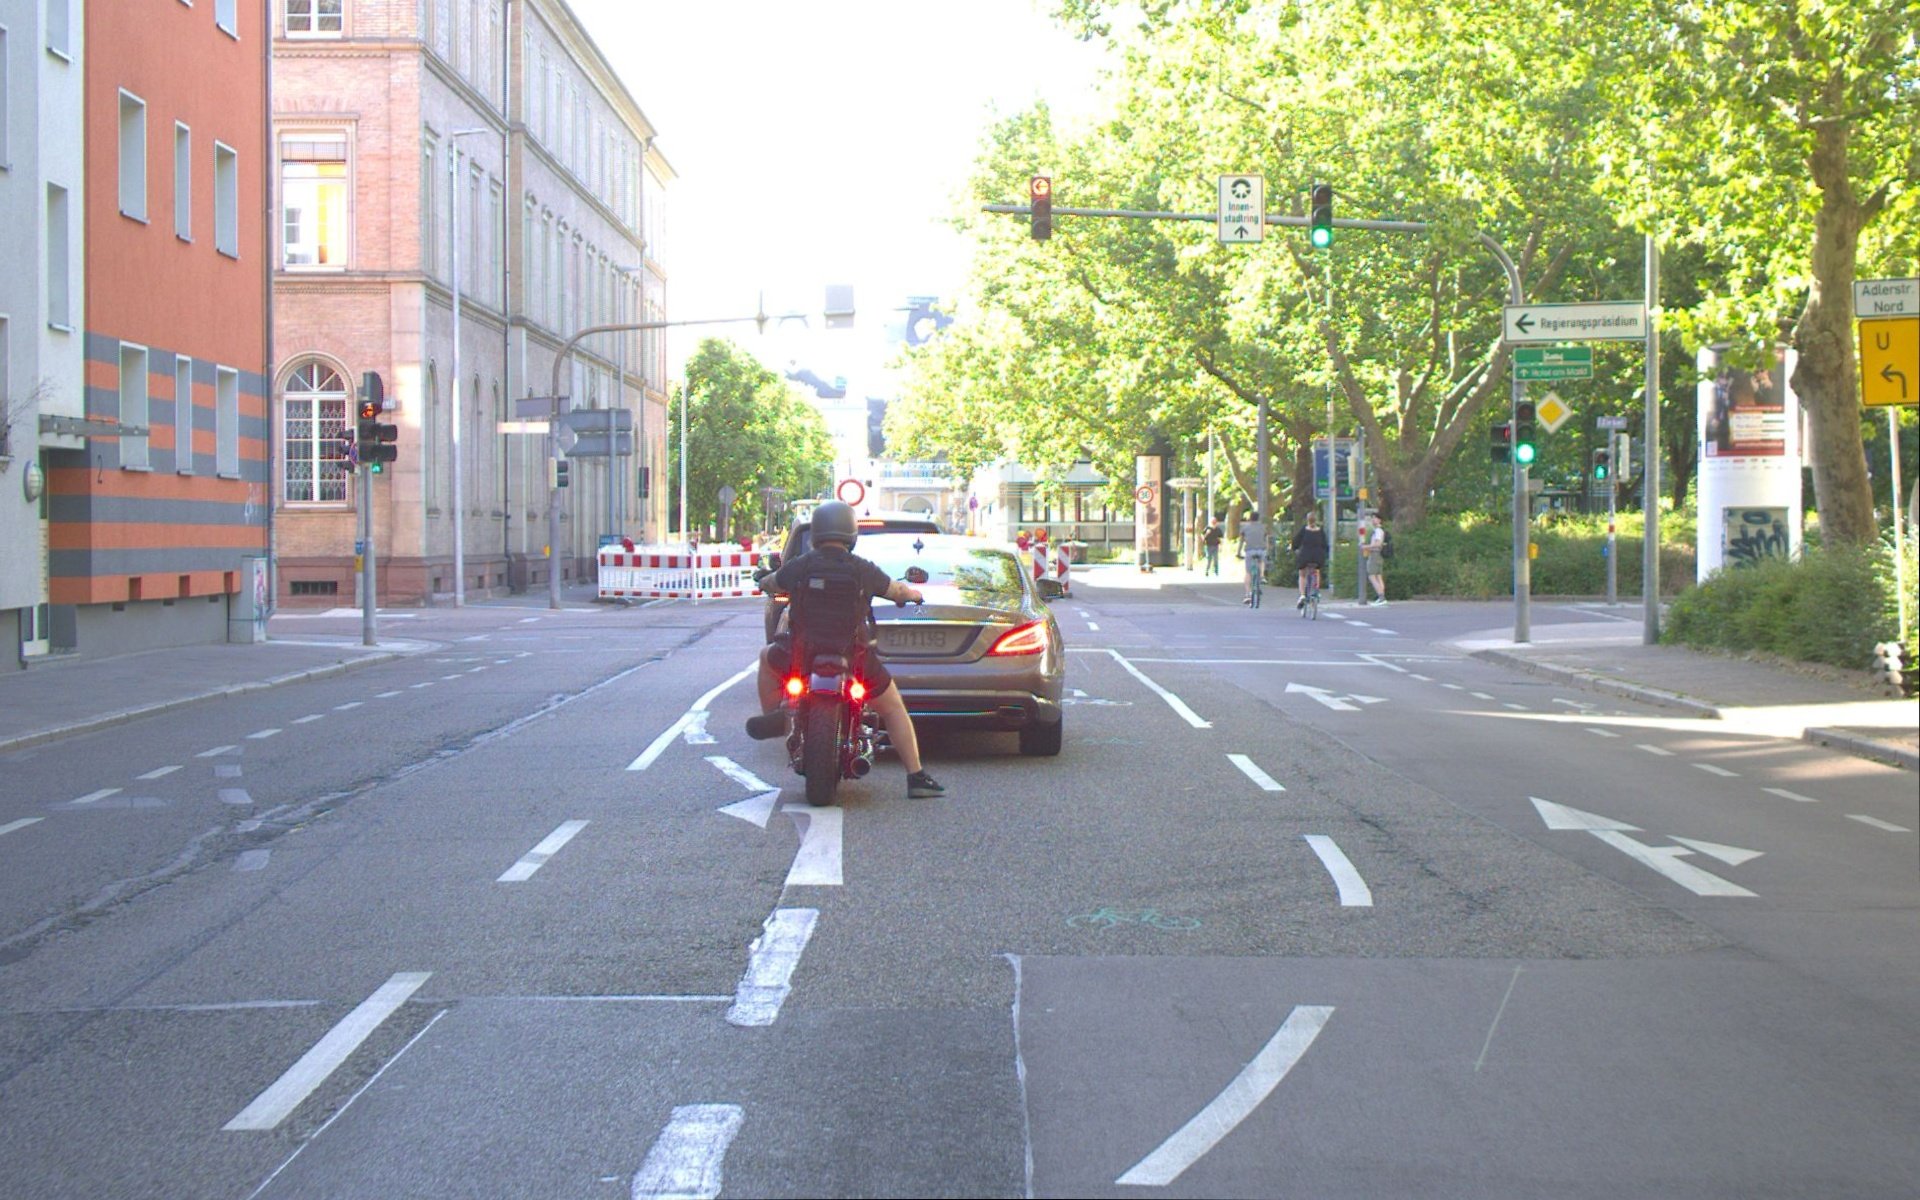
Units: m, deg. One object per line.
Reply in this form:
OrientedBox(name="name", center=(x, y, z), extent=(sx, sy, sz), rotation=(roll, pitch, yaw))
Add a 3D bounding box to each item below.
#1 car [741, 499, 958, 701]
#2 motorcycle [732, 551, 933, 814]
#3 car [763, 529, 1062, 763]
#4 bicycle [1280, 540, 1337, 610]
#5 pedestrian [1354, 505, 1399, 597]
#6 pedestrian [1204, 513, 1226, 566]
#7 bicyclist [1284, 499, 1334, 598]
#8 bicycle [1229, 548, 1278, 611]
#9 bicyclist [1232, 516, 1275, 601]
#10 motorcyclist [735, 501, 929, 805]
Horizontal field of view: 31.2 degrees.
OrientedBox(name="car", center=(-1.039, -0.034, 30.525), extent=(1.630, 1.645, 3.851), rotation=(1, 1, -6))
OrientedBox(name="motorcycle", center=(-0.668, 0.401, 18.837), extent=(1.012, 1.302, 2.673), rotation=(0, 1, -1))
OrientedBox(name="car", center=(-0.318, 0.244, 22.968), extent=(1.828, 1.415, 3.815), rotation=(0, 1, -1))
OrientedBox(name="bicycle", center=(5.419, -0.401, 53.531), extent=(0.656, 1.066, 1.927), rotation=(1, 1, -1))
OrientedBox(name="pedestrian", center=(8.115, -0.961, 67.022), extent=(0.625, 1.768, 0.571), rotation=(2, 1, 37))
OrientedBox(name="pedestrian", center=(7.740, -1.832, 104.420), extent=(0.592, 1.573, 0.527), rotation=(1, 1, 0))
OrientedBox(name="bicyclist", center=(5.428, -0.803, 53.524), extent=(0.656, 1.525, 0.852), rotation=(1, 1, -1))
OrientedBox(name="bicycle", center=(5.325, -0.386, 62.516), extent=(0.656, 1.107, 2.186), rotation=(1, 1, -1))
OrientedBox(name="bicyclist", center=(5.332, -0.757, 62.545), extent=(0.656, 1.525, 0.906), rotation=(1, 1, -1))
OrientedBox(name="motorcyclist", center=(-0.684, 0.261, 18.832), extent=(1.012, 1.596, 1.406), rotation=(0, 1, -1))
